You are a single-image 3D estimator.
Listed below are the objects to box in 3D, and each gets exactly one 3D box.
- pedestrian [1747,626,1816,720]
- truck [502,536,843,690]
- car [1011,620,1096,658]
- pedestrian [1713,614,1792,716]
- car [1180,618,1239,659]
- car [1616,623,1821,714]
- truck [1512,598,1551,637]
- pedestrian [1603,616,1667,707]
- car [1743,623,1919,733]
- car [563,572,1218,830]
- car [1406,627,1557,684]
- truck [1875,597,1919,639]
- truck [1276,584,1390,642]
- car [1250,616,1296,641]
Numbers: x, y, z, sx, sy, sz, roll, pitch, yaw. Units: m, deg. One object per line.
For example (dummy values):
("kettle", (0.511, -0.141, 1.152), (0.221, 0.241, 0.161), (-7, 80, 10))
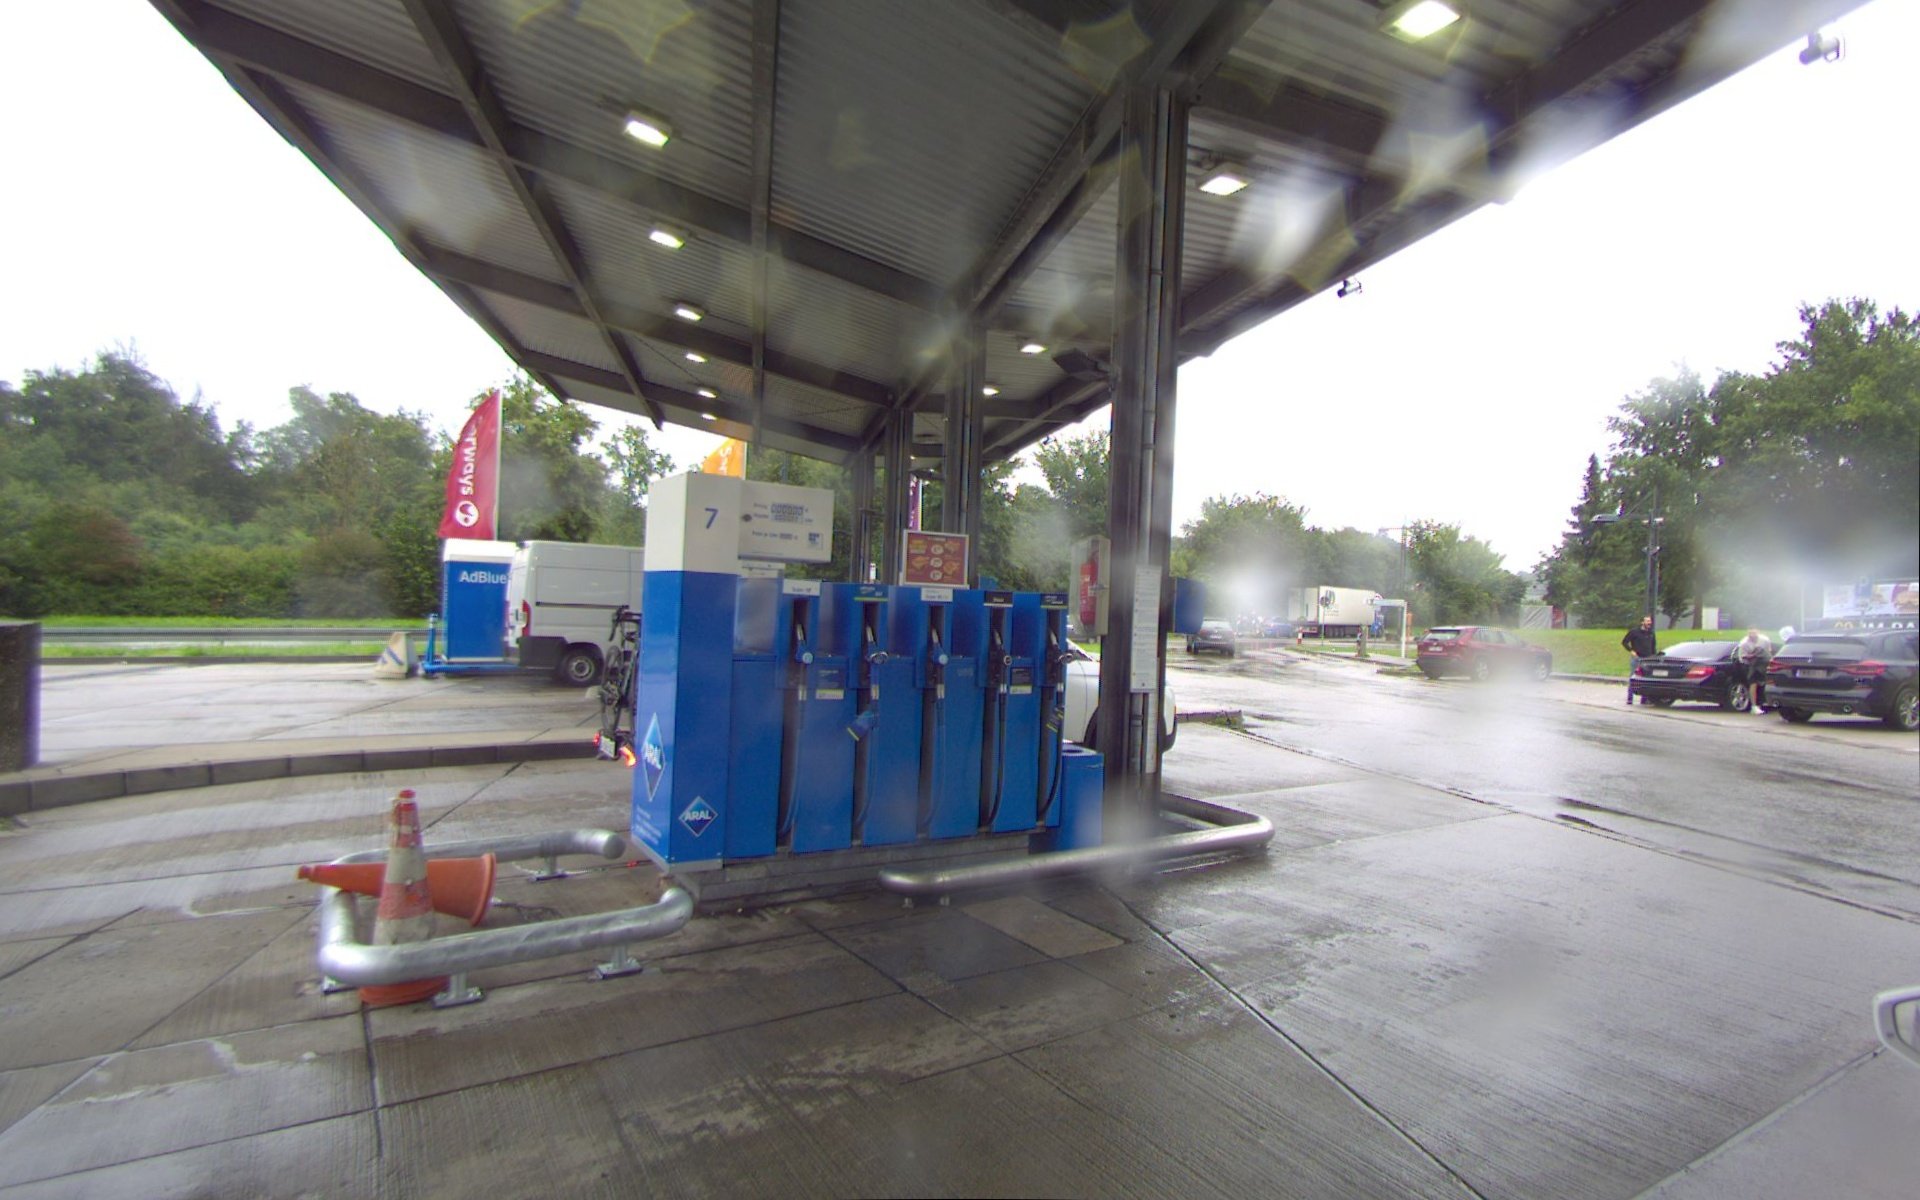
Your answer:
("pedestrian", (15.261, 1.332, 18.680), (0.939, 1.653, 0.701), (2, 0, 38))
("truck", (-5.330, 0.291, 18.939), (5.793, 2.527, 2.221), (2, 0, -30))
("car", (4.445, 1.851, 47.520), (3.969, 1.650, 1.756), (3, -1, -41))
("pedestrian", (15.350, 1.241, 19.474), (0.935, 1.912, 0.704), (2, 0, 2))
("car", (11.215, 1.701, 45.395), (1.960, 1.700, 4.002), (2, -1, 5))
("car", (15.950, 1.356, 21.088), (4.293, 1.734, 2.007), (1, -2, -31))
("truck", (48.044, 1.479, 84.610), (2.439, 3.126, 7.347), (2, 0, 27))
("pedestrian", (14.565, 1.311, 21.686), (0.691, 1.912, 0.892), (2, 0, -7))
("car", (16.180, 1.271, 17.465), (4.274, 1.734, 2.016), (1, -1, -18))
("car", (-0.418, 0.701, 8.457), (5.210, 1.629, 1.852), (2, 0, -30))
("car", (16.085, 1.668, 30.999), (4.283, 1.666, 1.933), (1, -2, -25))
("truck", (68.866, 1.321, 71.694), (5.285, 2.959, 2.191), (2, 0, -5))
("truck", (31.892, 1.178, 85.147), (3.498, 4.397, 16.922), (2, 0, 40))
("car", (22.915, 2.055, 73.433), (1.787, 1.704, 3.934), (2, 0, 40))
